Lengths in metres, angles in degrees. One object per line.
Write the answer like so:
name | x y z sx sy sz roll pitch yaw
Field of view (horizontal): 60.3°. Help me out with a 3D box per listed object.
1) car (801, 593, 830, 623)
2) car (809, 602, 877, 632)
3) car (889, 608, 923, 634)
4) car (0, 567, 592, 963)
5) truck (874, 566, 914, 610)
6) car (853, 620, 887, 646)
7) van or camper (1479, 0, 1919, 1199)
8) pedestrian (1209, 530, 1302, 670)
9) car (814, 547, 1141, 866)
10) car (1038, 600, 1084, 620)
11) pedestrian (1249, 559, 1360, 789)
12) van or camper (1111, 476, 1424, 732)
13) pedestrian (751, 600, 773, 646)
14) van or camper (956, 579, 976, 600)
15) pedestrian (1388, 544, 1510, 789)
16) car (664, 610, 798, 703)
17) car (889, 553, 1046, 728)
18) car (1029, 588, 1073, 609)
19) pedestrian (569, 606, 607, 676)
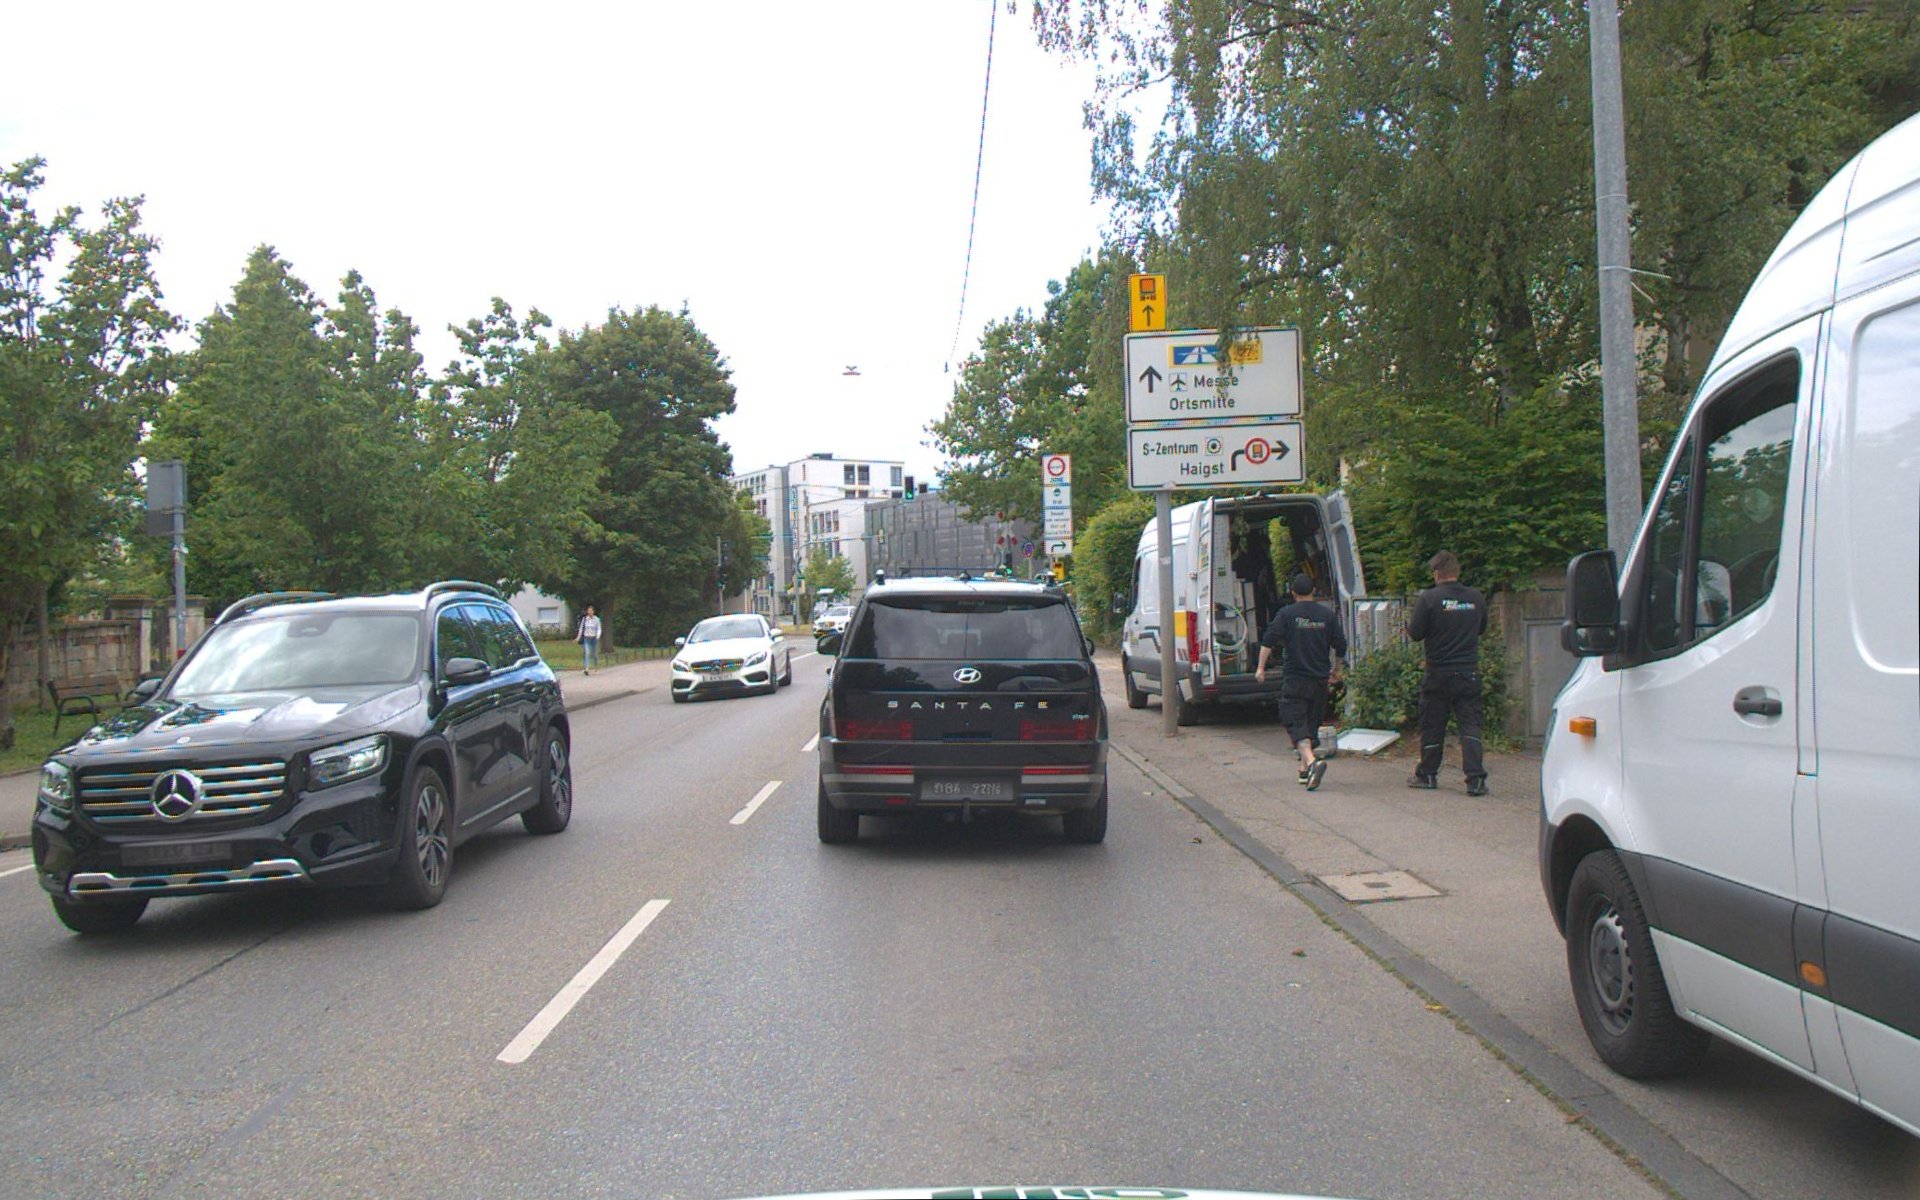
car | -12.209 0.679 139.463 2.288 2.356 4.950 -2 0 -6
car | -6.366 0.913 90.468 1.802 1.565 4.263 -1 0 27
car | -3.742 1.446 114.240 1.849 1.667 3.890 -2 0 -9
car | -3.526 0.764 9.571 1.842 1.673 4.127 -4 0 -1
truck | -6.331 -1.083 156.366 3.048 3.926 9.607 -2 0 -6
car | -5.584 2.026 102.293 1.847 1.445 3.994 -2 0 -6
van or camper | 2.971 0.050 2.697 1.951 2.670 6.543 -4 -1 -1
pedestrian | 3.622 0.010 20.322 0.728 1.672 0.794 -2 -1 -28
car | 0.083 0.638 11.608 1.858 1.807 3.993 1 -1 -1
car | 8.670 0.837 142.050 3.904 1.611 1.890 -2 0 2
pedestrian | 2.756 0.581 13.186 0.734 1.751 0.792 -3 -2 15
van or camper | 3.568 0.113 20.864 2.294 2.538 6.599 -5 -1 -2
pedestrian | -9.147 1.057 76.304 0.812 2.049 1.047 1 -1 2
van or camper | 0.571 -1.014 168.068 1.760 2.033 3.820 1 -1 -4
pedestrian | 3.669 0.489 12.447 0.635 1.782 0.654 -1 -1 -7
car | -4.129 0.979 30.599 1.778 1.444 4.827 -5 0 -1
car | 0.068 0.512 22.085 1.858 2.077 3.993 1 -1 -1
car | 7.512 -0.109 136.790 3.565 1.611 1.752 -2 0 2
pedestrian | -9.560 1.051 42.512 0.751 1.779 0.904 0 -1 0
